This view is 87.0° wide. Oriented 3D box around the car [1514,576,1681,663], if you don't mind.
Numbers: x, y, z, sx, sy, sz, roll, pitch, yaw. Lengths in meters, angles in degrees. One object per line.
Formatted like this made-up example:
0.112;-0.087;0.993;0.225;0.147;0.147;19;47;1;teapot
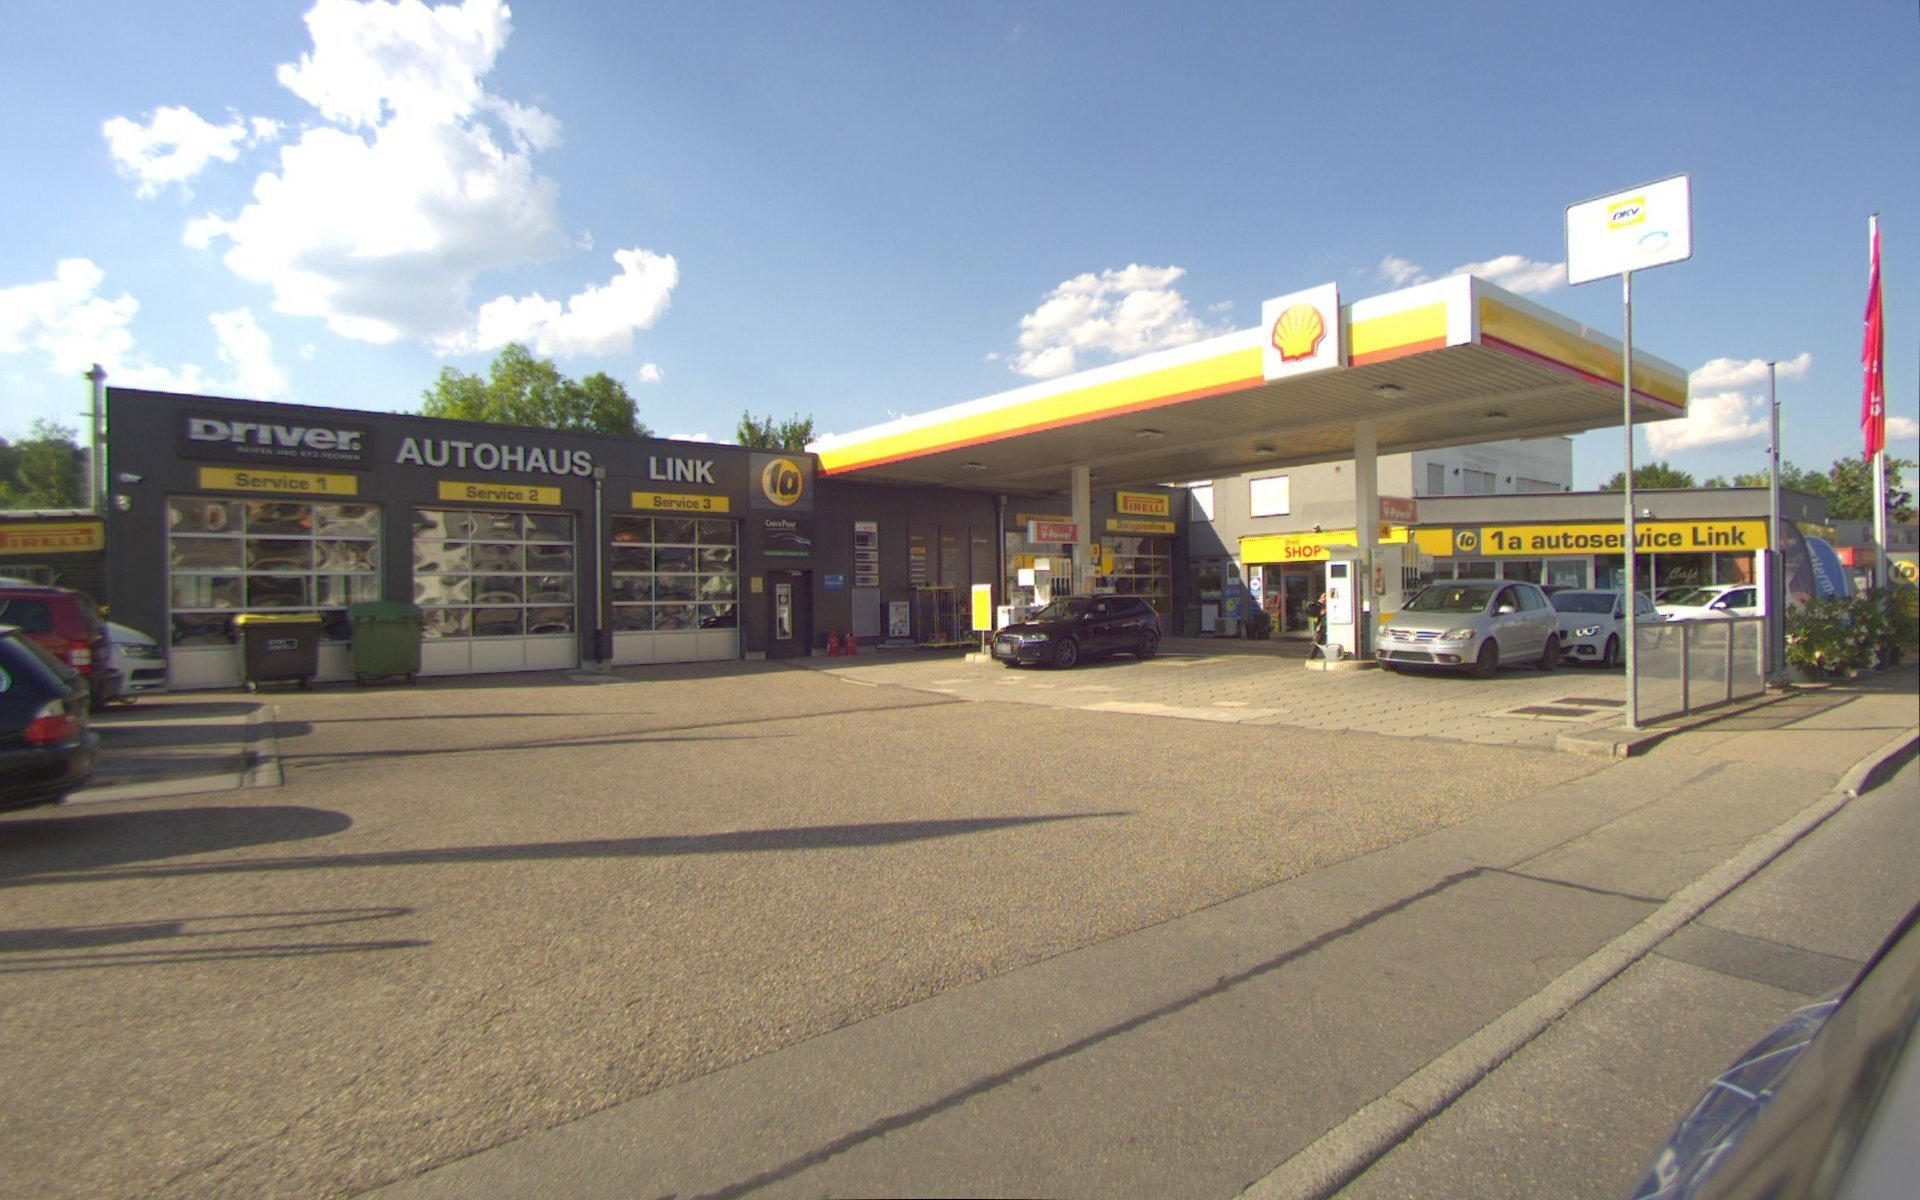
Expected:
12.848;0.342;20.319;3.926;1.597;1.676;0;0;-39;car

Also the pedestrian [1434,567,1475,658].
9.334;0.226;19.103;0.524;1.691;0.501;-1;0;-38;pedestrian

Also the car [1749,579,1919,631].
27.679;0.128;32.070;1.499;1.550;3.998;0;1;-37;car

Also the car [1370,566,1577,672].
8.751;0.276;17.138;3.926;1.597;1.676;0;0;-39;car

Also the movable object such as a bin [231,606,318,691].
-11.982;0.814;17.682;1.109;1.393;0.988;0;0;-44;movable object such as a bin

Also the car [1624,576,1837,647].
19.818;0.263;26.204;4.012;1.695;1.673;1;1;10;car

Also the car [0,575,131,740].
-11.697;0.621;11.361;3.563;1.815;1.583;1;0;-36;car

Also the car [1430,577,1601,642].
14.739;0.229;27.045;3.627;1.653;1.673;0;1;10;car

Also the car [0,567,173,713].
-13.666;0.522;13.855;4.466;1.948;1.583;1;0;-36;car

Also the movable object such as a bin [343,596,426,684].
-10.643;0.710;18.702;1.188;1.549;0.990;0;0;-40;movable object such as a bin

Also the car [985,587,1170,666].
2.528;0.487;21.250;3.927;1.417;1.540;-2;2;-39;car

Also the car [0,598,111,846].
-7.387;0.729;5.443;4.303;1.445;1.581;0;-1;-40;car
